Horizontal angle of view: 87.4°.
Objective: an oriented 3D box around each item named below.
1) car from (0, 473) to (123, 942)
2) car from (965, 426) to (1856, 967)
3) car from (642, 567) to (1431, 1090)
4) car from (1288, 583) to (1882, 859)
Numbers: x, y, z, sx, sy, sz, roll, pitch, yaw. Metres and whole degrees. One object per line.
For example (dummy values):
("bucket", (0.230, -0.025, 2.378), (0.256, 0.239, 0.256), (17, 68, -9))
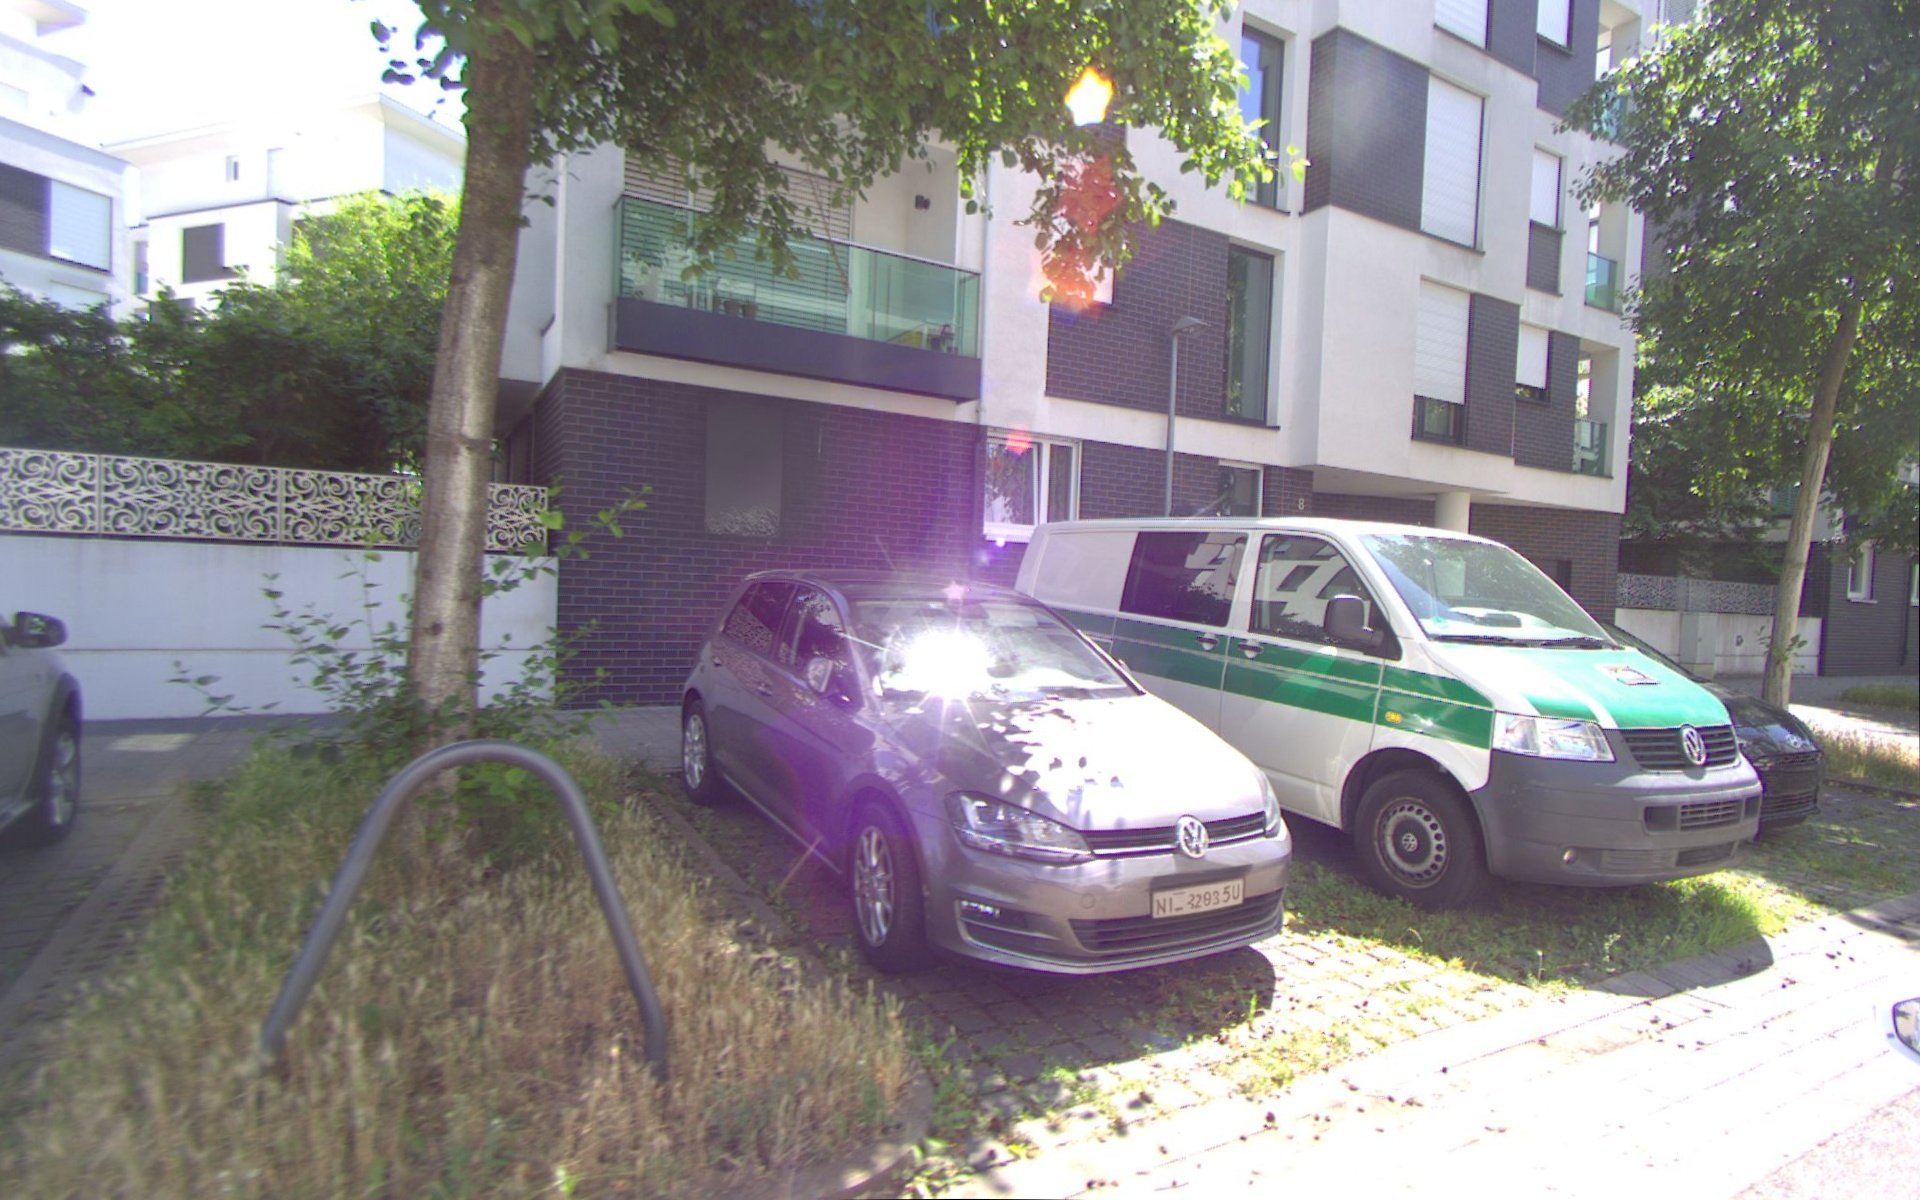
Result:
("car", (-4.222, 0.373, 3.123), (1.830, 1.698, 3.662), (2, 3, -30))
("car", (2.234, 0.343, 6.843), (2.159, 2.139, 5.321), (2, 1, -27))
("car", (-0.139, 0.629, 5.318), (1.977, 1.509, 4.397), (2, 1, -31))
("car", (4.628, 0.727, 7.999), (1.658, 1.501, 3.605), (2, 3, -30))
